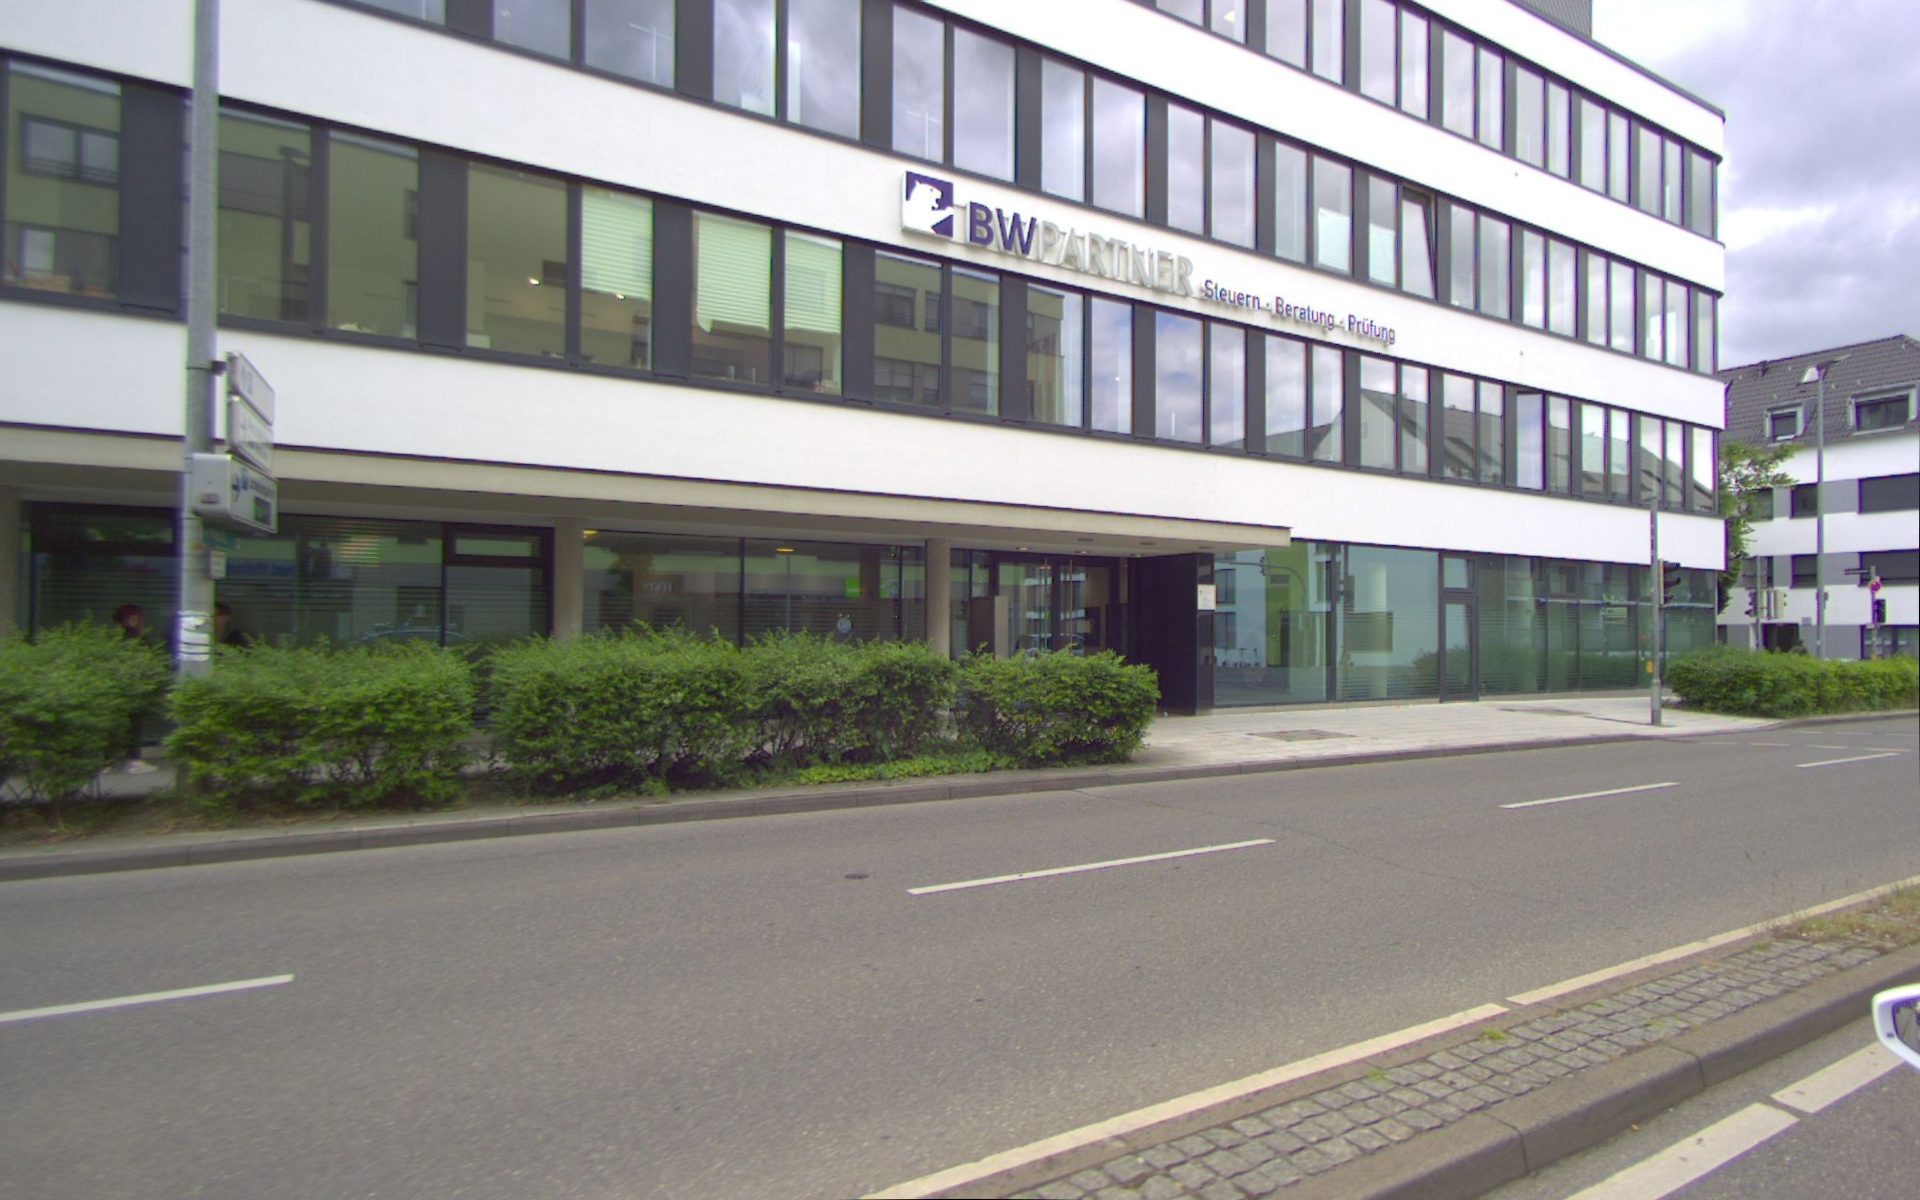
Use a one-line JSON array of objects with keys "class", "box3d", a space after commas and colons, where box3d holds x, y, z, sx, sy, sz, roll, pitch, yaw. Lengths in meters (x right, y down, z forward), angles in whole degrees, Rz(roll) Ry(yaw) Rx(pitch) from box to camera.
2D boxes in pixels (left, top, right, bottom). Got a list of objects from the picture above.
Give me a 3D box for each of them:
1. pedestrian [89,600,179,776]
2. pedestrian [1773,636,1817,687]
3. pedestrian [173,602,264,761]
[{"class": "pedestrian", "box3d": [-8.428, 0.878, 10.255, 0.604, 1.732, 0.505, -1, -2, 30]}, {"class": "pedestrian", "box3d": [28.368, 2.086, 34.137, 0.867, 1.692, 0.814, -2, 0, 20]}, {"class": "pedestrian", "box3d": [-8.334, 0.903, 11.304, 0.603, 1.752, 0.506, 0, -1, 1]}]
